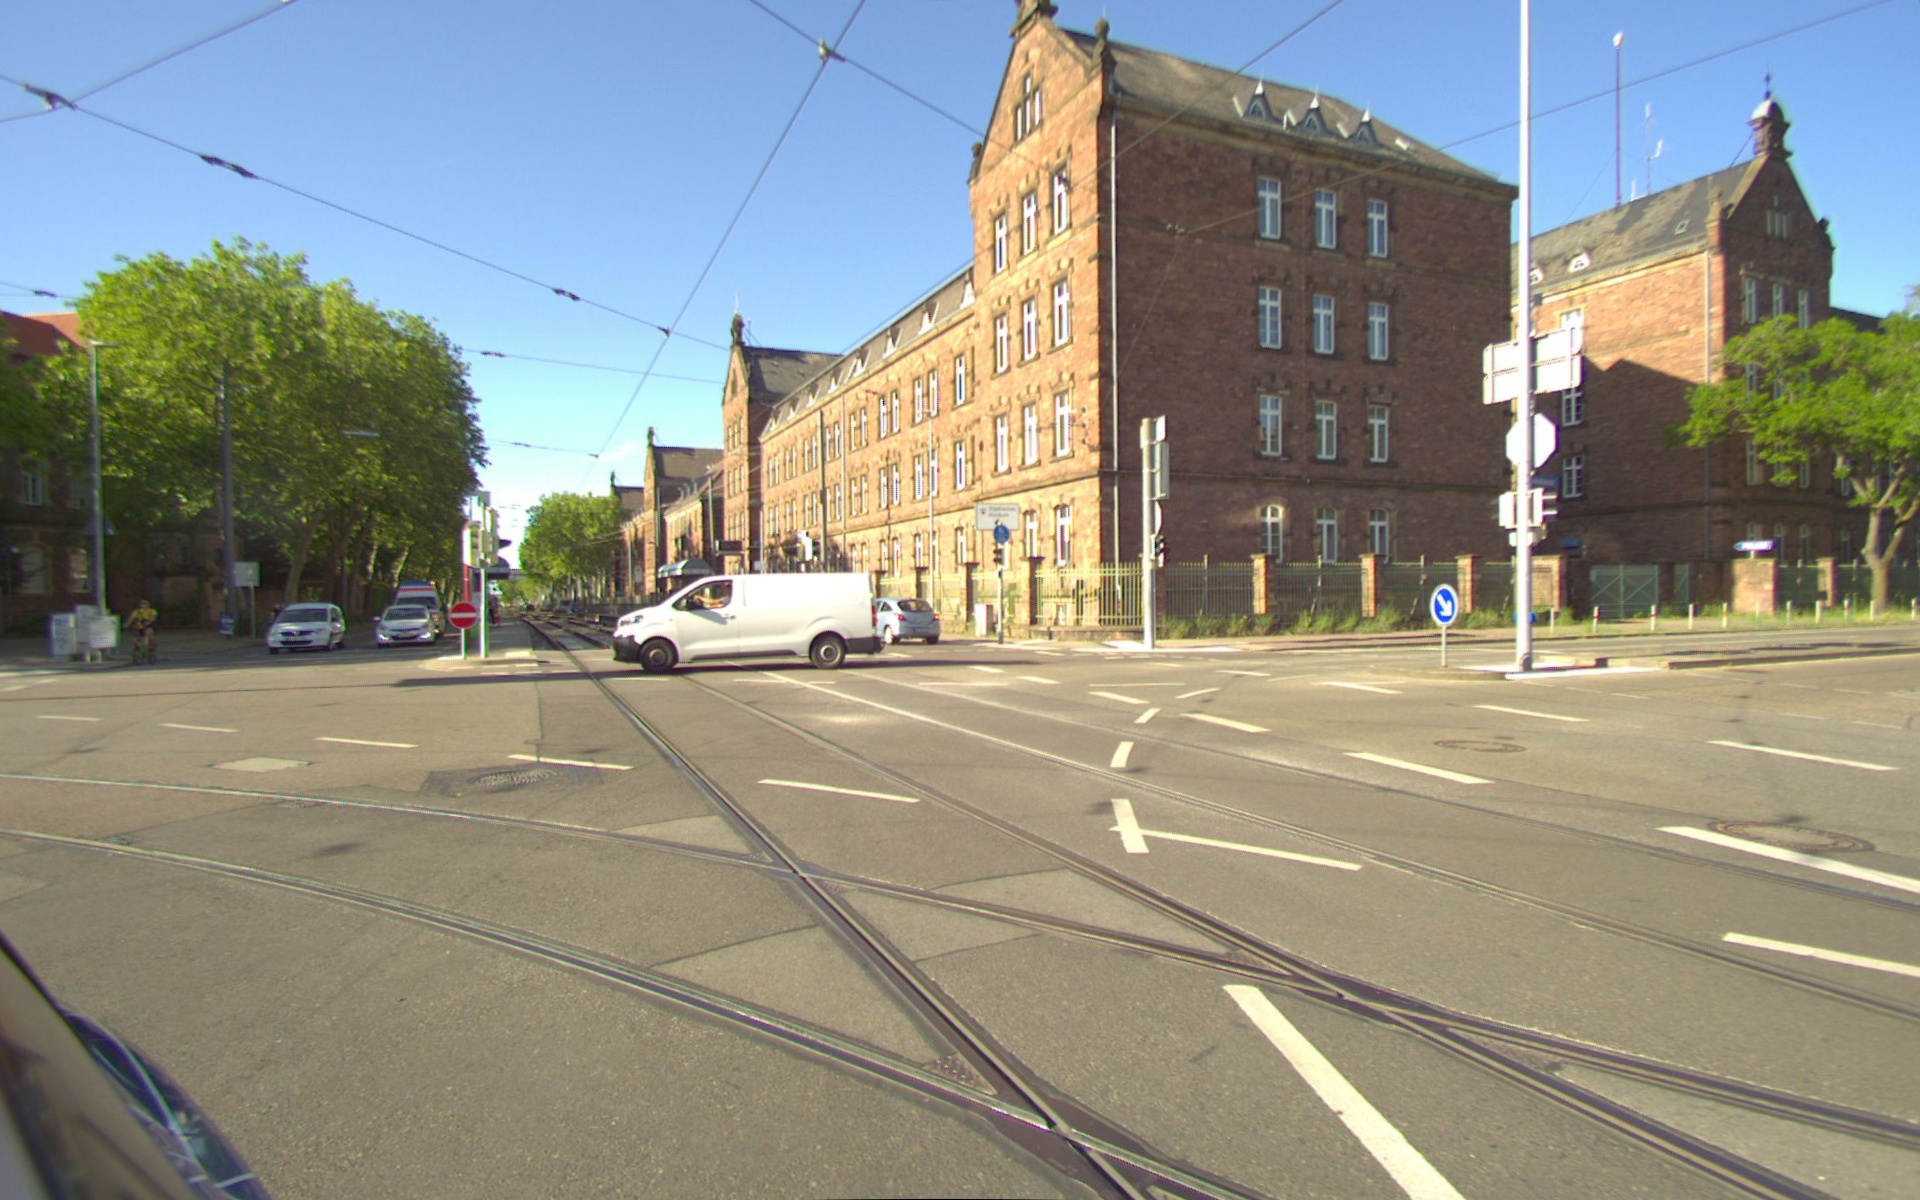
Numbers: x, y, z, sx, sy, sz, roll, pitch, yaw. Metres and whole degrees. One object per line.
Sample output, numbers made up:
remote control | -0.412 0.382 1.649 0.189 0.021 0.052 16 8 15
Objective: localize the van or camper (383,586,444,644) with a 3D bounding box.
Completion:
van or camper | -23.807 0.718 44.270 1.965 2.379 5.617 0 -2 -24

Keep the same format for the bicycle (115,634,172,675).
bicycle | -22.152 1.482 27.492 0.678 1.041 2.106 0 -3 -24

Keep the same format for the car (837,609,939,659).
car | -2.392 1.053 32.434 1.712 1.454 4.128 0 -1 -28

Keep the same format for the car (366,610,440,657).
car | -19.839 1.175 36.203 1.951 1.560 4.047 -1 -1 -23

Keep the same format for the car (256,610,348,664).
car | -21.774 1.201 33.680 1.879 1.630 4.586 -1 -1 -24

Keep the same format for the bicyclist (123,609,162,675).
bicyclist | -22.084 1.130 27.344 0.658 1.742 0.624 0 -3 -25

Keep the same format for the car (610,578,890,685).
car | -4.171 0.589 20.379 5.215 1.943 2.170 -1 -1 -12
